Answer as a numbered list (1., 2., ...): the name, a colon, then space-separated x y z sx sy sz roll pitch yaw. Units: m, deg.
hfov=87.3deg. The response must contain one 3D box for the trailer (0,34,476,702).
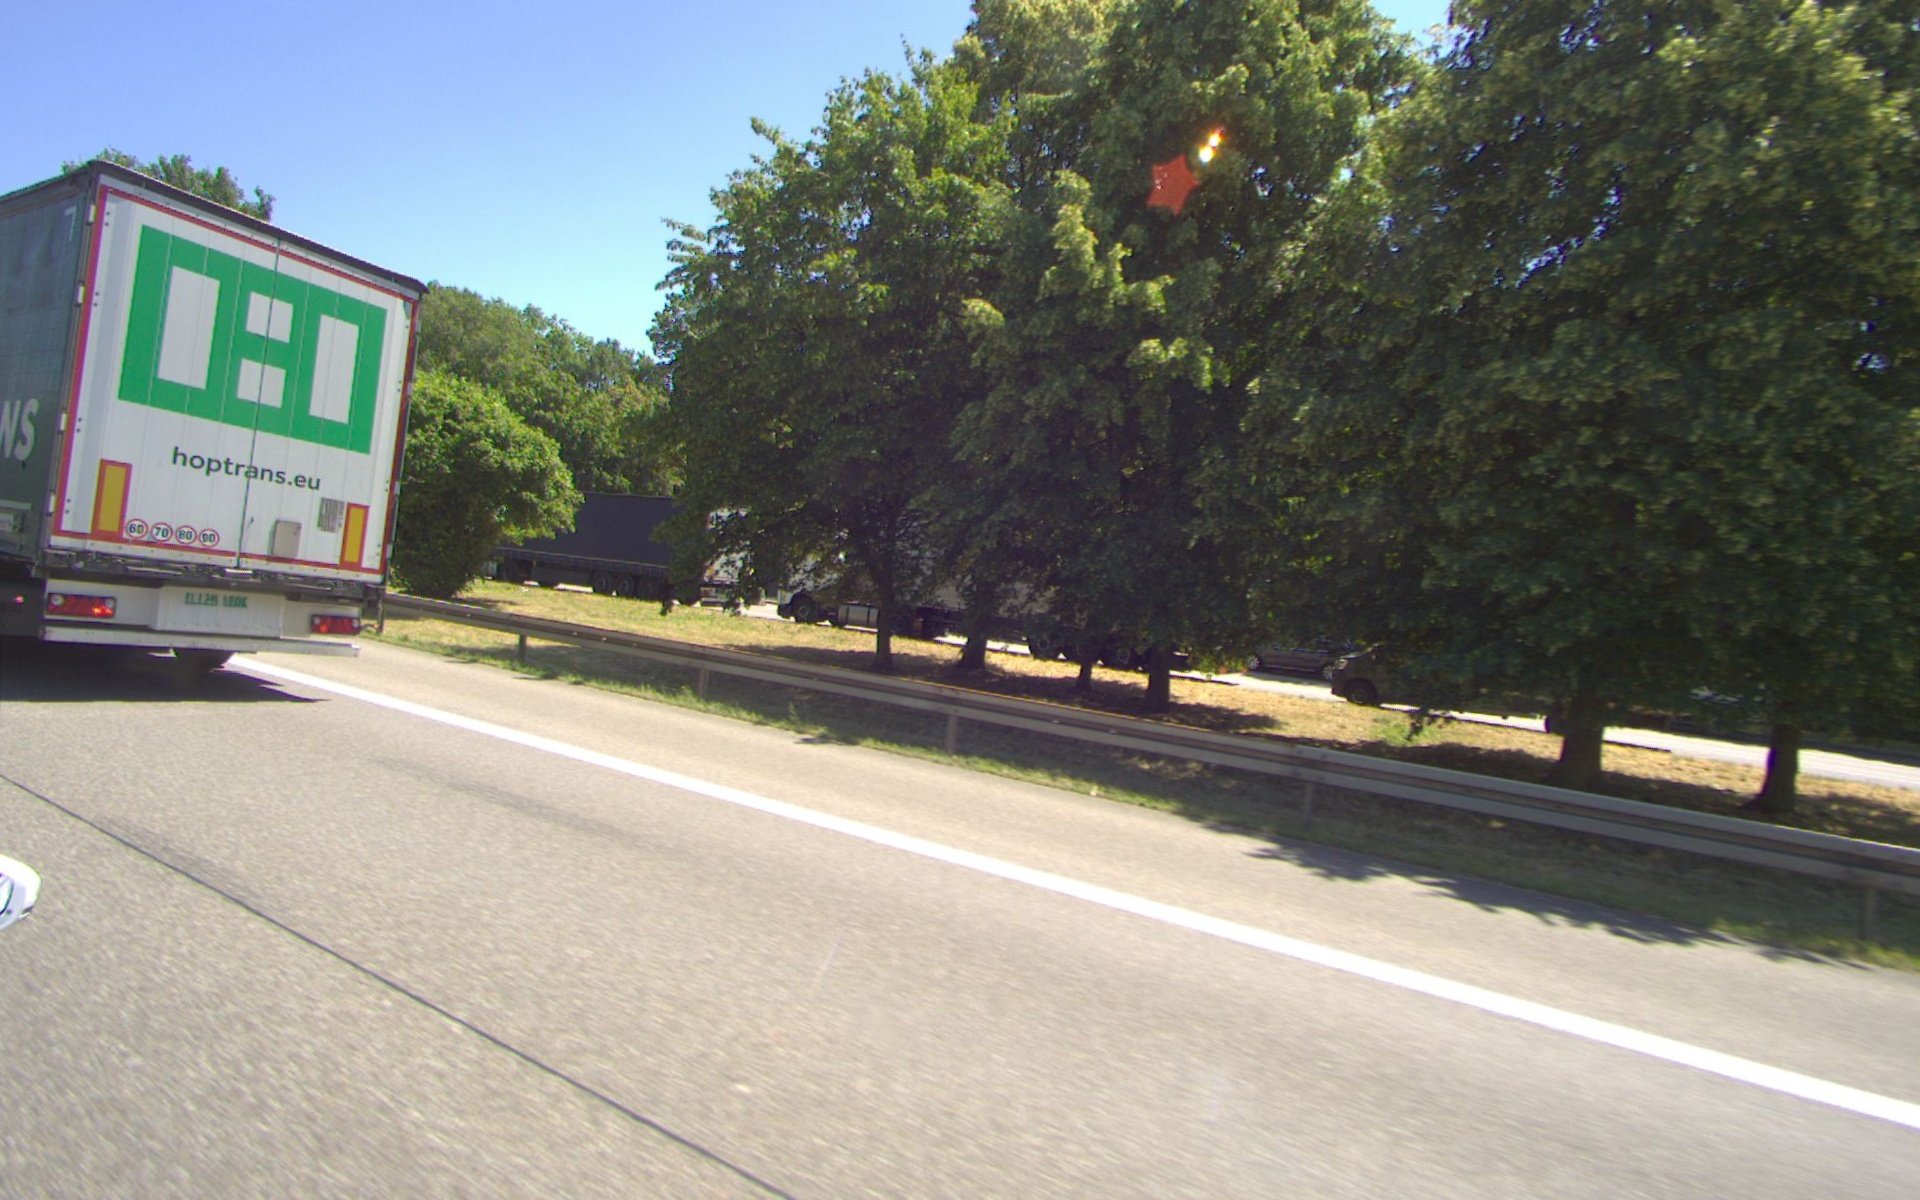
1. trailer: -10.743 -2.065 11.545 11.851 4.685 3.185 7 0 32

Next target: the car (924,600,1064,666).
1. car: 1.338 1.313 40.686 5.151 2.039 1.995 7 0 32

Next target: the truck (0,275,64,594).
1. truck: -17.280 -2.797 15.646 5.848 4.665 3.185 7 1 31

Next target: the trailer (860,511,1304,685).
1. trailer: 3.262 -0.255 30.907 13.142 3.835 3.107 7 -1 32

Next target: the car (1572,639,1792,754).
1. car: 20.390 2.654 28.524 4.712 2.470 1.990 7 1 41

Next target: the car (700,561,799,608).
1. car: -10.122 -0.745 48.305 4.403 1.741 1.995 7 0 32

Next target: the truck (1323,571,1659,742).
1. truck: 12.480 1.250 23.968 6.516 3.123 2.469 6 -1 37

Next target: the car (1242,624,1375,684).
1. car: 12.153 1.893 35.165 3.937 1.566 1.843 7 0 35

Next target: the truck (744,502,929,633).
1. truck: -4.335 -1.139 35.441 5.223 3.835 3.097 7 -1 27

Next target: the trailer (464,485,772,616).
1. trailer: -14.286 -2.167 41.065 13.954 4.002 3.139 7 1 30
